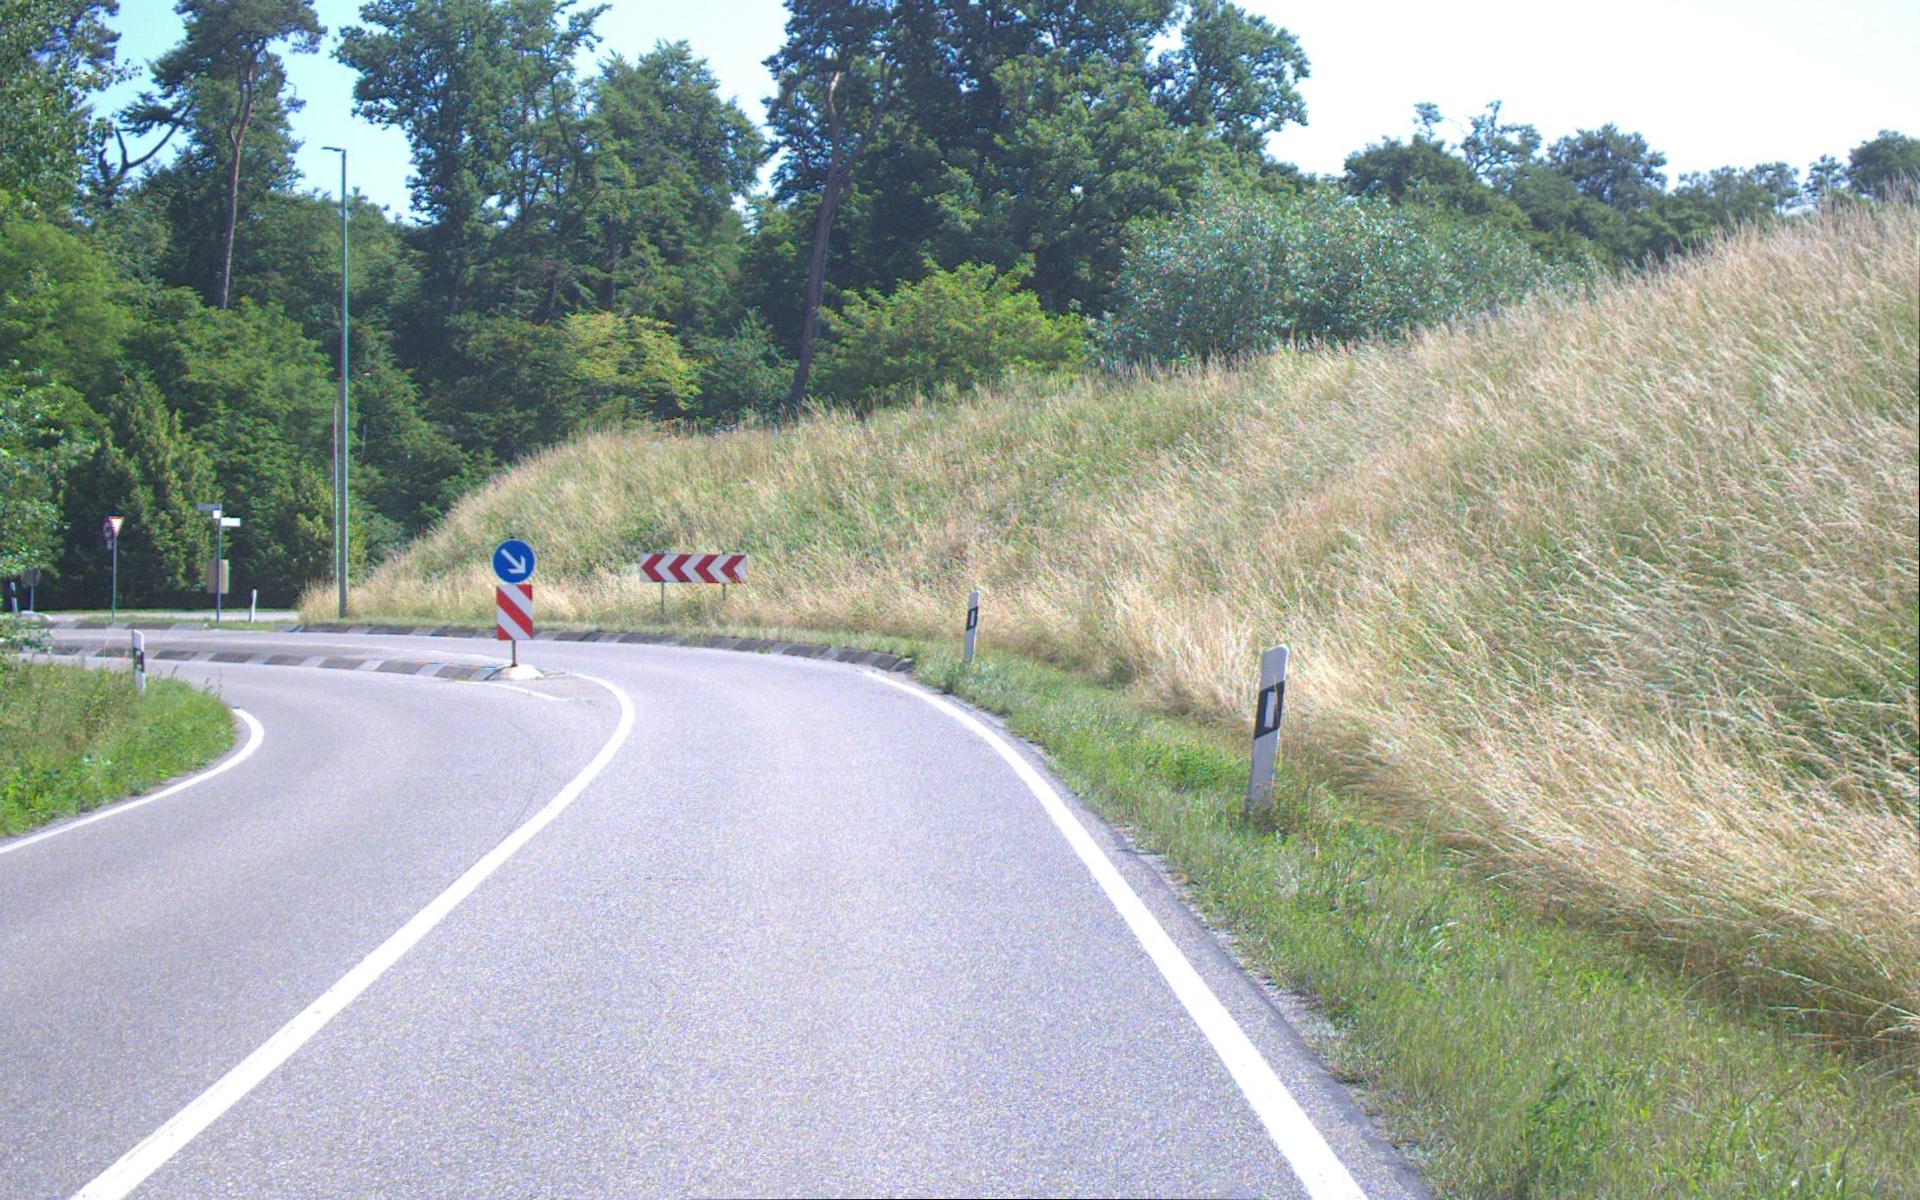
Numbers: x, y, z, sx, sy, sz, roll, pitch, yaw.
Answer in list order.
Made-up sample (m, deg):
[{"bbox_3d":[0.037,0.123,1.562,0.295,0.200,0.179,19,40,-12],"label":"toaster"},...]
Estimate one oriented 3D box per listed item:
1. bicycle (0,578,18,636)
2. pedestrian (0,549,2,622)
[{"bbox_3d":[-27.598,0.213,95.448,3.196,1.582,1.184,0,1,40],"label":"bicycle"},{"bbox_3d":[-27.458,-0.386,95.340,1.140,2.007,1.261,0,1,38],"label":"pedestrian"}]
